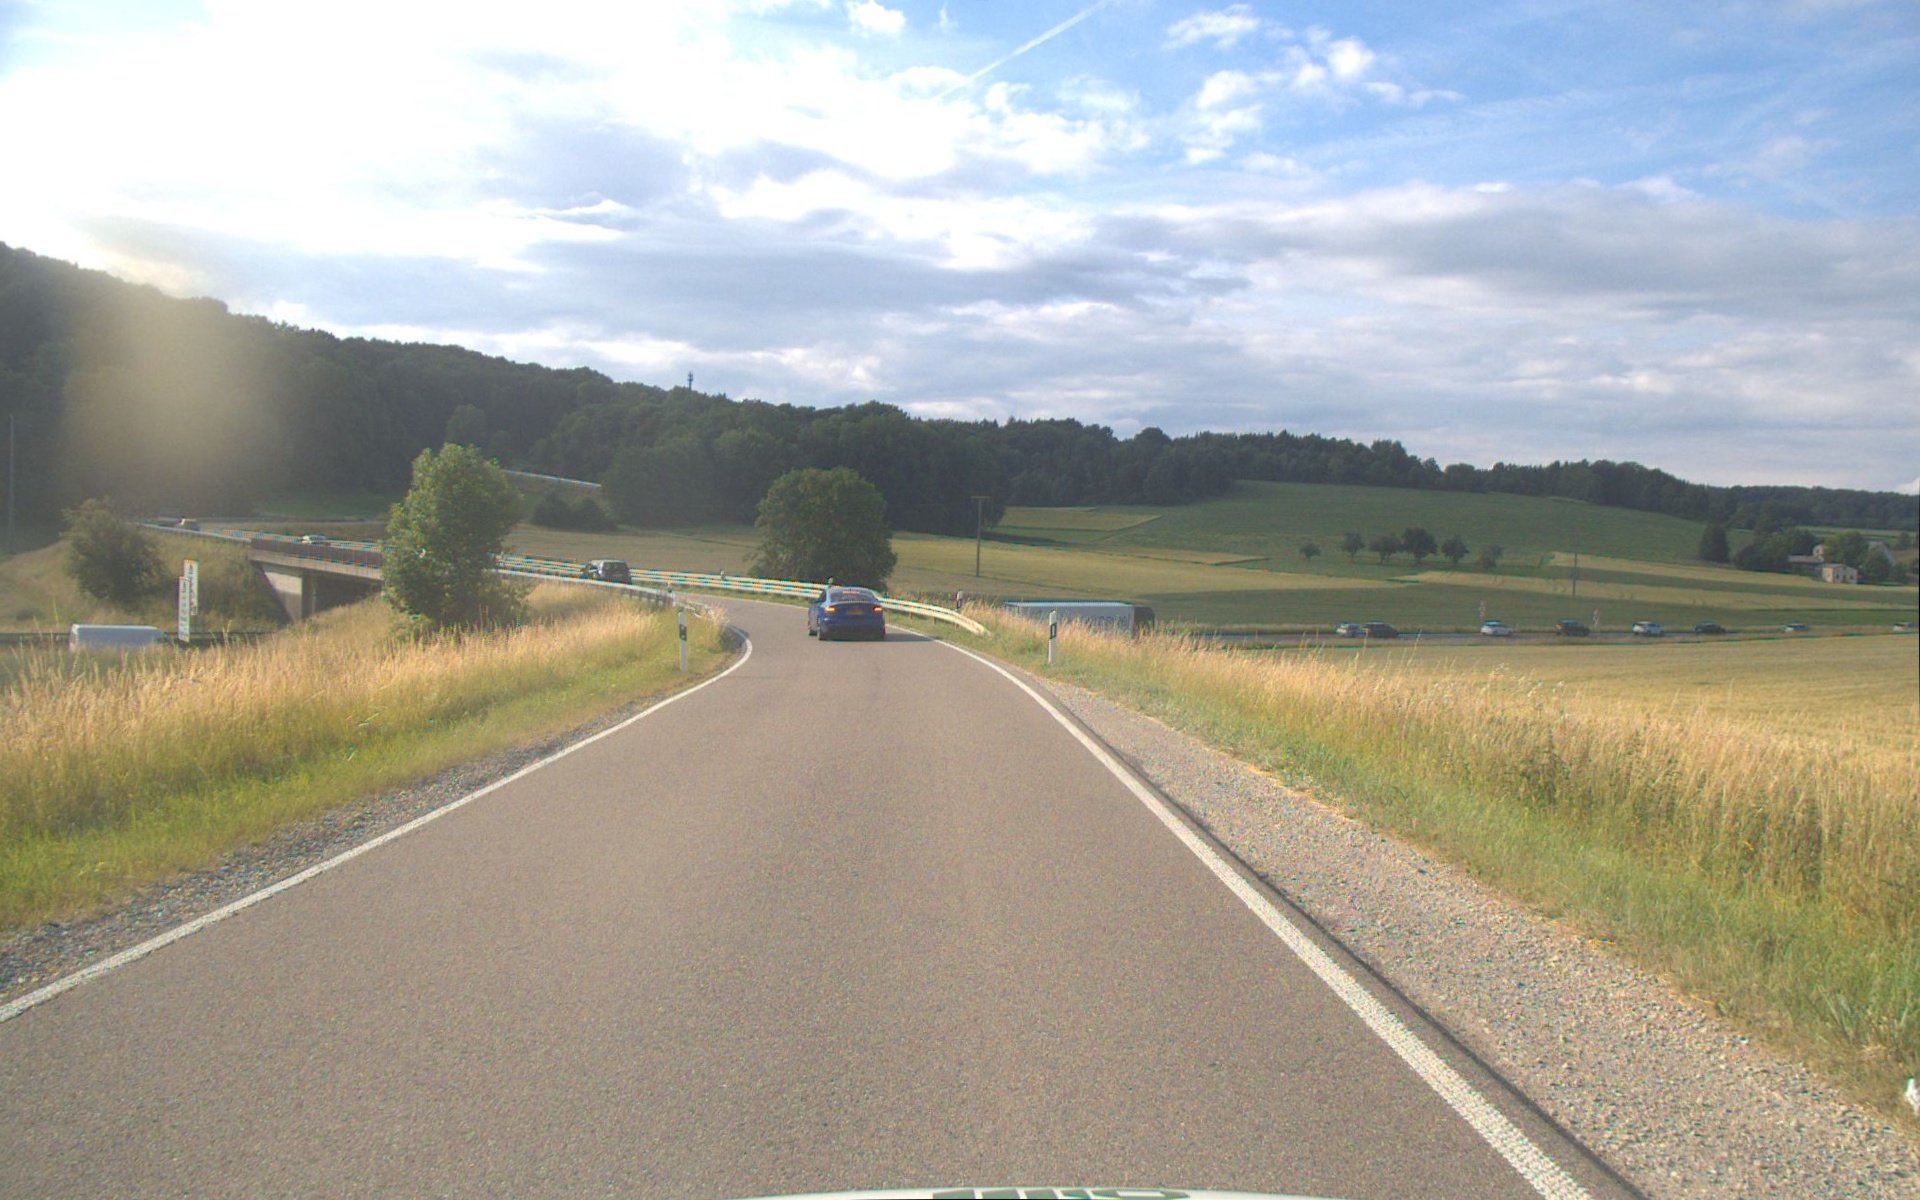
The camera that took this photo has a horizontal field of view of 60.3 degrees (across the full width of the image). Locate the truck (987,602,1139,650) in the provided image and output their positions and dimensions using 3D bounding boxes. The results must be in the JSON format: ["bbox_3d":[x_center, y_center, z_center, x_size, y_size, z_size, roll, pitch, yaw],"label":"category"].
[{"bbox_3d":[9.270,2.268,147.336,14.263,4.066,4.028,0,-1,-36],"label":"truck"}]

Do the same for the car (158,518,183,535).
[{"bbox_3d":[-89.843,-8.423,188.261,1.976,1.802,3.955,-4,5,-33],"label":"car"}]

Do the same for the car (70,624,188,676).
[{"bbox_3d":[-50.529,2.984,100.628,6.061,2.627,2.344,-1,8,-38],"label":"car"}]

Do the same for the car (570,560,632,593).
[{"bbox_3d":[-18.311,-1.203,84.225,1.844,1.596,3.957,0,2,-32],"label":"car"}]

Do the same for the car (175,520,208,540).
[{"bbox_3d":[-74.957,-6.852,161.263,1.980,1.708,4.122,3,0,-38],"label":"car"}]

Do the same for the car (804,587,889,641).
[{"bbox_3d":[-3.170,0.347,45.522,1.786,1.362,4.338,-1,1,-12],"label":"car"}]

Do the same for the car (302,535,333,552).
[{"bbox_3d":[-49.496,-4.372,127.422,1.460,1.248,3.257,1,2,-37],"label":"car"}]

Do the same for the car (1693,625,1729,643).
[{"bbox_3d":[87.062,3.966,191.744,3.949,2.049,1.978,0,-1,-33],"label":"car"}]
